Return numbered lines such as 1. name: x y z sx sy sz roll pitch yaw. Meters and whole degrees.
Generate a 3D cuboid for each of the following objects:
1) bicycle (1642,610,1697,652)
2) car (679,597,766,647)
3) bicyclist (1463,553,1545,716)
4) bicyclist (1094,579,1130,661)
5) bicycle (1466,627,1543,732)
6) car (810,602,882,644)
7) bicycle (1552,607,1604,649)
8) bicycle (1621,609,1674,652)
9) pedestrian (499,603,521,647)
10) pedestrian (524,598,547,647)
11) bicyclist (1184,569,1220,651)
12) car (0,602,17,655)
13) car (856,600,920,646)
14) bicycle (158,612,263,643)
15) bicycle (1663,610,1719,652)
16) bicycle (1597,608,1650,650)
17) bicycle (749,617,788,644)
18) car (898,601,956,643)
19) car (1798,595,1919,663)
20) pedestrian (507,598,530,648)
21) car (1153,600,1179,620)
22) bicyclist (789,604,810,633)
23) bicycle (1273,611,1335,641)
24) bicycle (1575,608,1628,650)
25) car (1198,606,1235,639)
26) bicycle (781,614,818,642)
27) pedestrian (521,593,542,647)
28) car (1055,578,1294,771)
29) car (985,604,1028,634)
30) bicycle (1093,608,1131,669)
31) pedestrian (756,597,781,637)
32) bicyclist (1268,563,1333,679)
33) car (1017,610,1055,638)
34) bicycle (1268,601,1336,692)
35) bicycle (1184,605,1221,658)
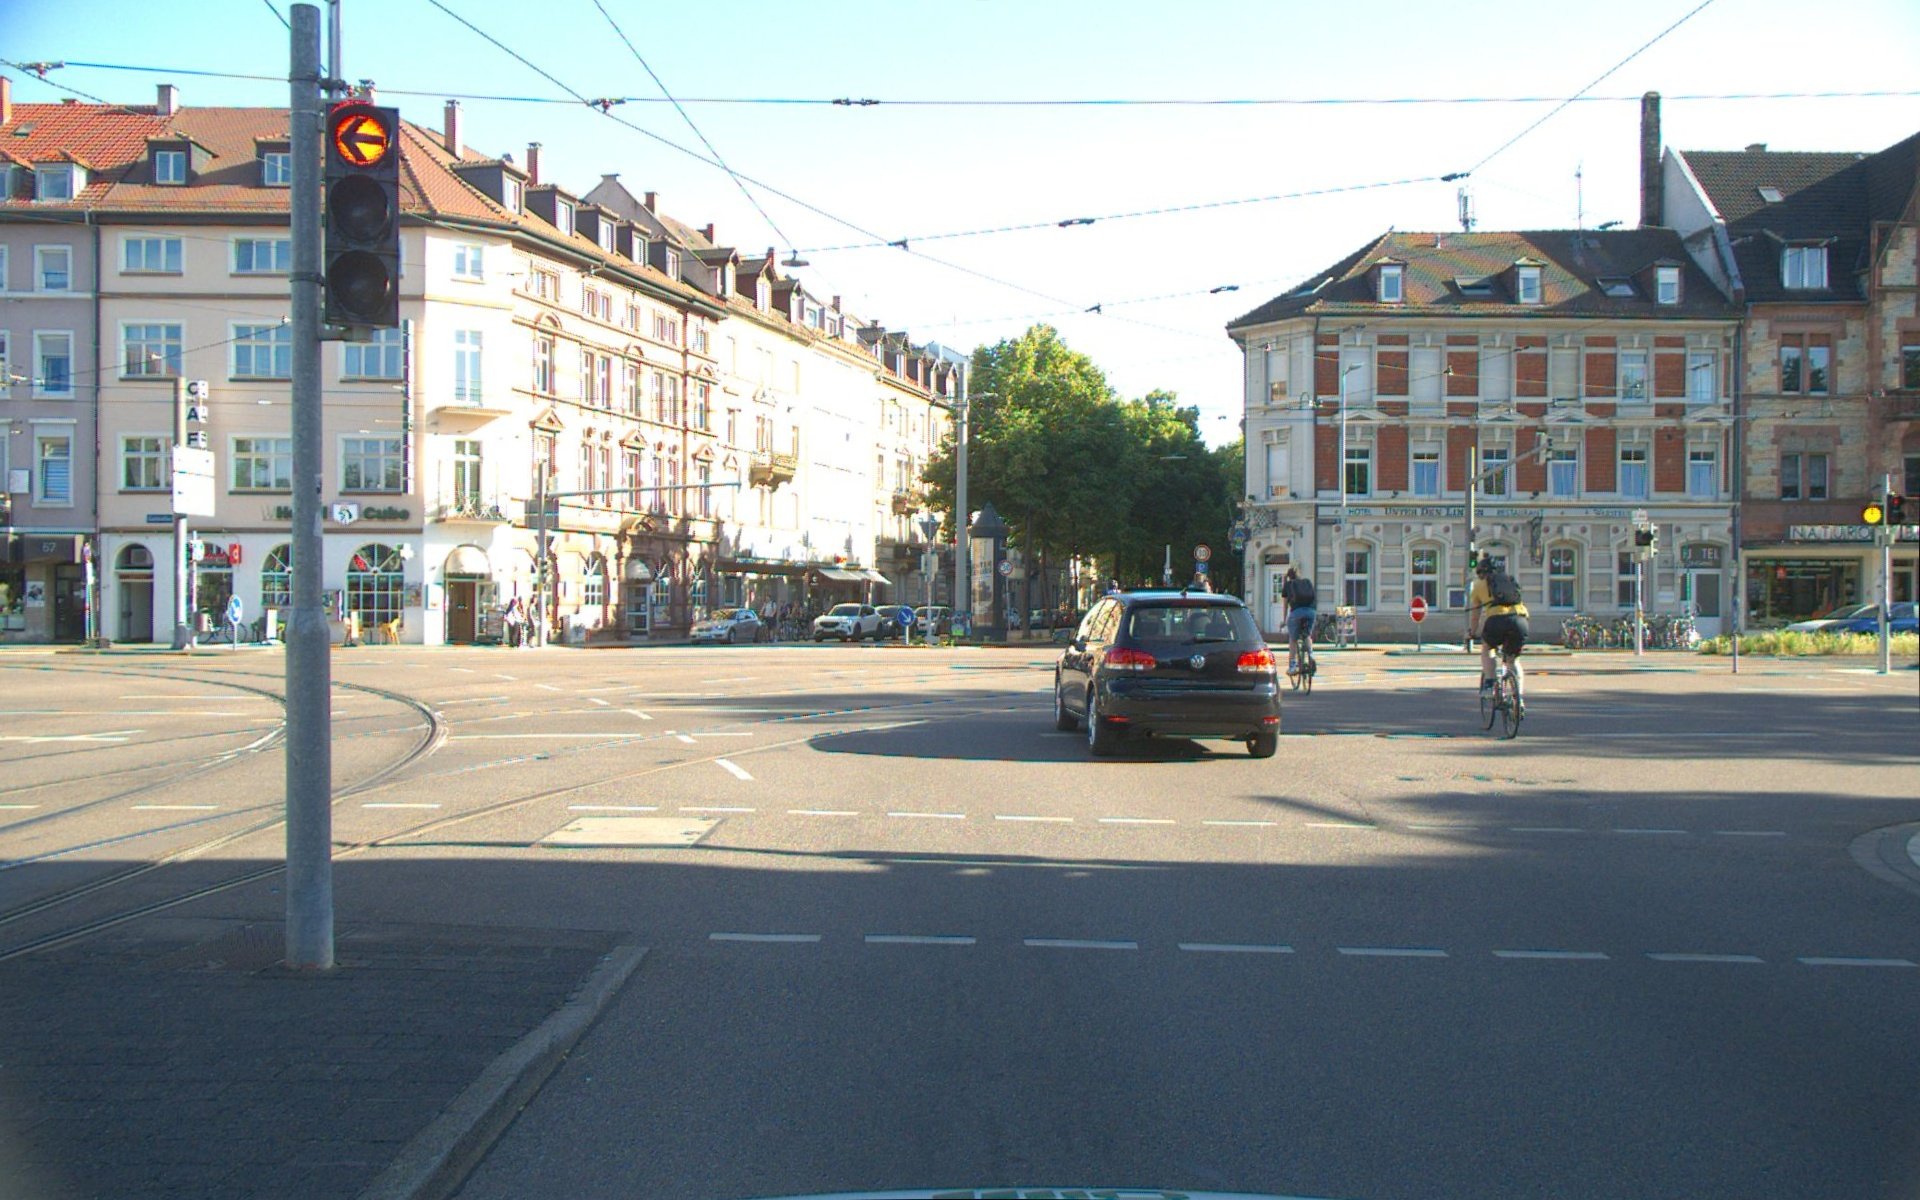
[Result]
1. bicycle: 22.798 0.974 53.192 0.615 1.309 2.661 1 0 0
2. car: -9.586 0.869 67.000 1.951 1.937 4.002 1 0 17
3. bicyclist: 5.812 0.359 17.717 0.789 1.692 0.884 1 -1 16
4. bicyclist: 2.878 0.365 31.342 0.625 1.520 0.884 1 1 3
5. bicycle: 5.869 0.826 17.892 0.739 1.049 1.781 1 0 17
6. car: -4.591 0.922 67.218 1.951 1.646 4.003 1 0 11
7. bicycle: 19.822 0.879 53.134 0.678 1.309 2.661 1 0 0
8. bicycle: 22.083 0.961 53.168 0.615 1.309 2.661 1 0 0
9. pedestrian: -15.572 0.848 57.248 0.620 1.502 0.465 1 -1 -5
10. pedestrian: -14.633 0.763 57.041 0.620 1.662 0.700 1 -1 -4
11. bicyclist: 4.987 0.202 34.037 0.675 1.662 0.884 1 -1 11
12. car: -32.387 0.905 52.438 3.902 1.699 2.002 0 0 8
13. car: -3.172 1.007 73.633 1.951 1.937 4.003 1 0 11
14. bicycle: -25.518 0.934 56.361 3.066 0.997 1.001 1 0 -1
15. bicycle: 23.482 0.986 53.190 0.615 1.309 2.661 1 0 0
16. bicycle: 21.306 0.927 53.165 0.615 1.309 2.661 1 0 0
17. bicycle: -7.531 1.199 65.171 0.746 1.025 2.398 1 0 13
18. car: -1.550 1.060 79.610 1.951 1.937 4.003 1 0 11
19. car: 25.799 0.803 46.253 3.706 1.809 1.999 1 0 -2
20. pedestrian: -14.861 0.780 55.682 0.620 1.662 0.700 1 -1 -4
21. car: 16.840 0.827 135.073 1.526 1.540 3.658 1 0 16
22. bicyclist: -6.812 0.773 70.240 0.618 1.205 0.685 1 -1 20
23. bicycle: 11.920 0.896 57.312 2.006 1.015 0.631 0 -1 2
24. bicycle: 20.595 0.921 53.143 0.678 1.309 2.661 1 0 0
25. car: 12.864 1.115 82.791 1.655 1.592 3.844 1 0 11
26. bicycle: -6.807 1.182 70.295 0.637 1.142 2.253 1 0 20
27. pedestrian: -15.144 0.702 58.458 0.620 1.914 0.465 1 -1 -5
28. car: 1.924 0.603 15.954 1.693 1.534 4.050 1 2 -1
29. car: 3.172 1.279 112.750 1.951 1.937 4.002 1 0 16
30. bicycle: 2.856 0.705 31.167 0.613 1.104 1.703 1 0 2
31. pedestrian: -7.543 0.660 65.099 0.803 1.539 0.598 1 -1 14
32. bicyclist: 4.922 0.306 23.950 0.789 1.634 0.884 1 0 5
33. car: 5.656 1.765 122.639 1.951 1.937 4.002 1 0 16
34. bicycle: 4.923 0.650 23.896 0.739 1.258 1.704 1 0 5
35. bicycle: 5.007 0.638 34.106 0.635 1.049 1.772 1 0 12
